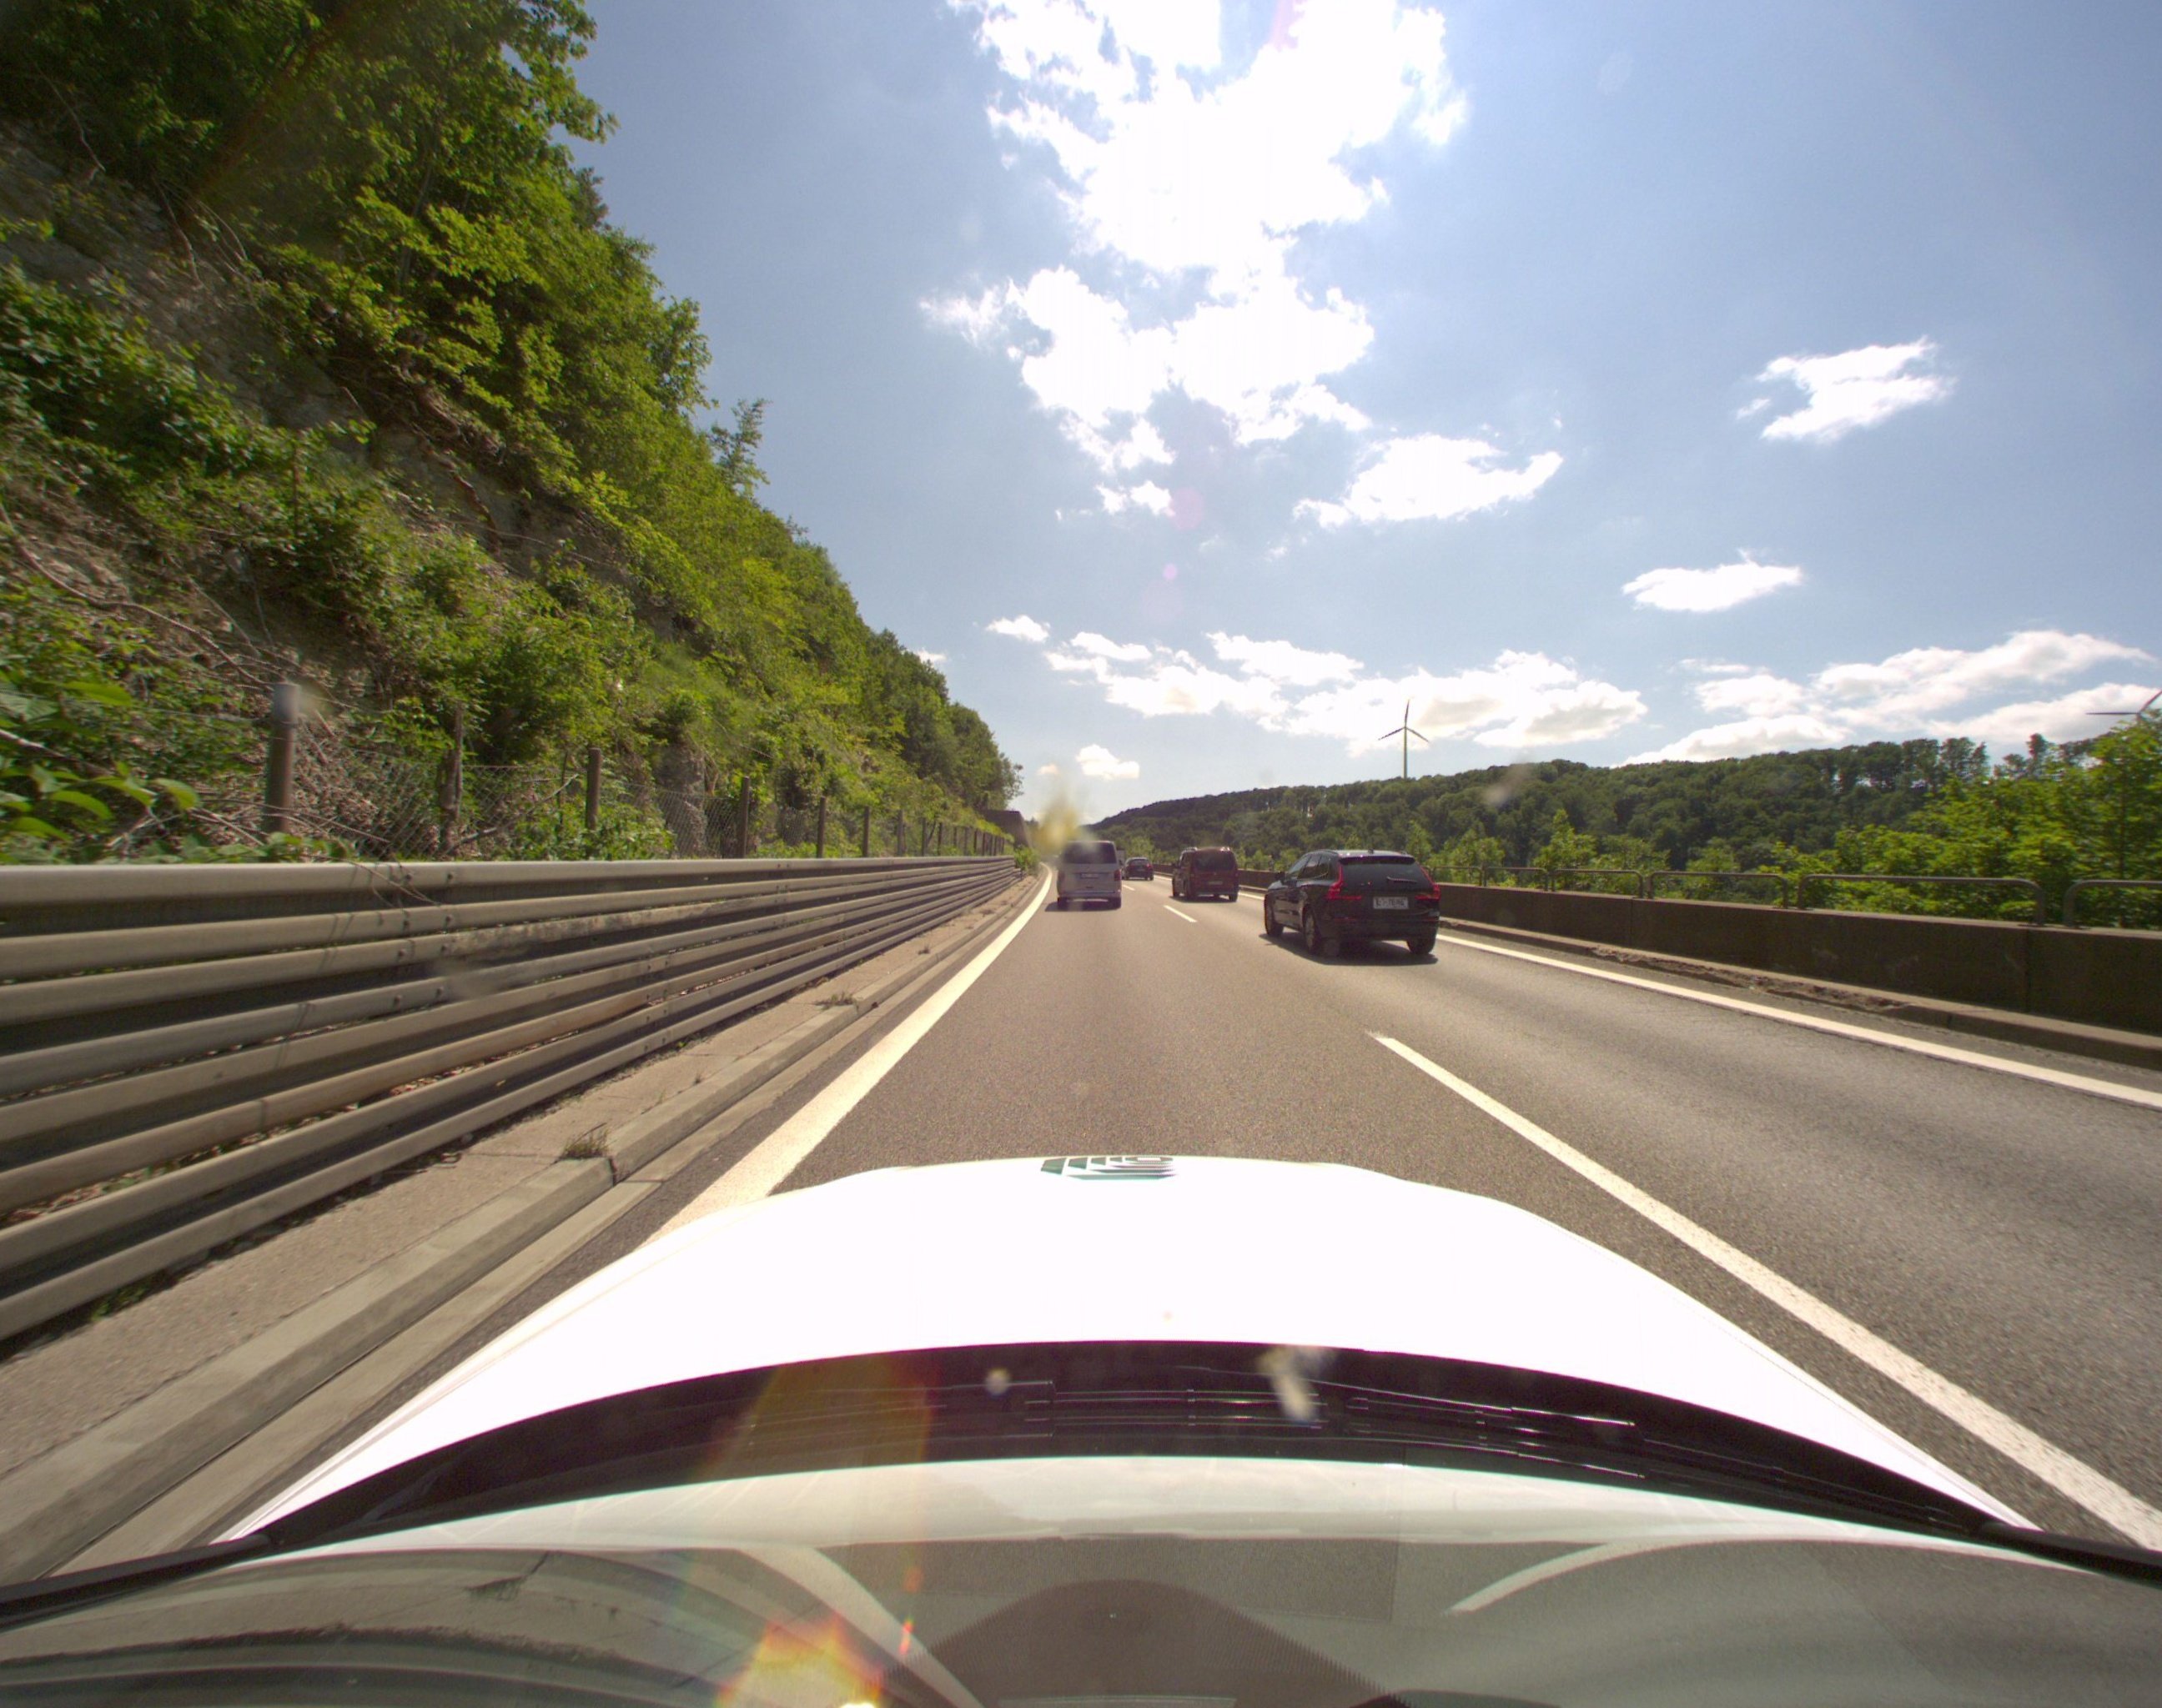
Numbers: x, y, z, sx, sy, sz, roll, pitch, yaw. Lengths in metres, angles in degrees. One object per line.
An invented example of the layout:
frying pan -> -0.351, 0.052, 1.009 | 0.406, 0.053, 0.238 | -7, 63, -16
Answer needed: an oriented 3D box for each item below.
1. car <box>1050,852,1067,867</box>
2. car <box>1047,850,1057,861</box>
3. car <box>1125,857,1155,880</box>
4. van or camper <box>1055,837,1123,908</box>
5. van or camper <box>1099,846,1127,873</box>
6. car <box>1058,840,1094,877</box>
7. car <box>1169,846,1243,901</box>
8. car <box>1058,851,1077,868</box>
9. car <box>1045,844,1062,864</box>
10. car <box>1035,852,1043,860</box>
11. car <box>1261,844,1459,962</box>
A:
car -> -2.843, 0.713, 102.878 | 1.990, 1.915, 3.993 | 0, 0, -5
car -> -5.787, 0.296, 162.165 | 1.988, 2.014, 3.997 | -1, -1, -1
car -> 3.779, 0.912, 52.560 | 1.762, 1.376, 3.593 | -1, 0, 1
van or camper -> 0.182, 0.549, 24.975 | 1.870, 1.949, 4.291 | -1, -1, -1
van or camper -> 3.084, 0.523, 79.586 | 2.259, 2.551, 4.730 | -1, 0, -4
car -> -0.247, 0.257, 47.906 | 1.986, 2.014, 4.001 | -1, 0, 1
car -> 4.403, 0.675, 29.396 | 1.828, 1.784, 4.672 | -1, -1, -2
car -> -1.470, 0.586, 86.750 | 1.989, 1.817, 3.996 | 0, 0, -3
car -> -7.208, 0.009, 212.613 | 4.031, 4.871, 10.106 | -1, 0, 0
car -> -9.309, 0.529, 180.189 | 1.841, 1.750, 3.996 | 0, 0, -3
car -> 4.443, 0.700, 13.814 | 1.828, 1.633, 4.663 | -1, 0, 1
